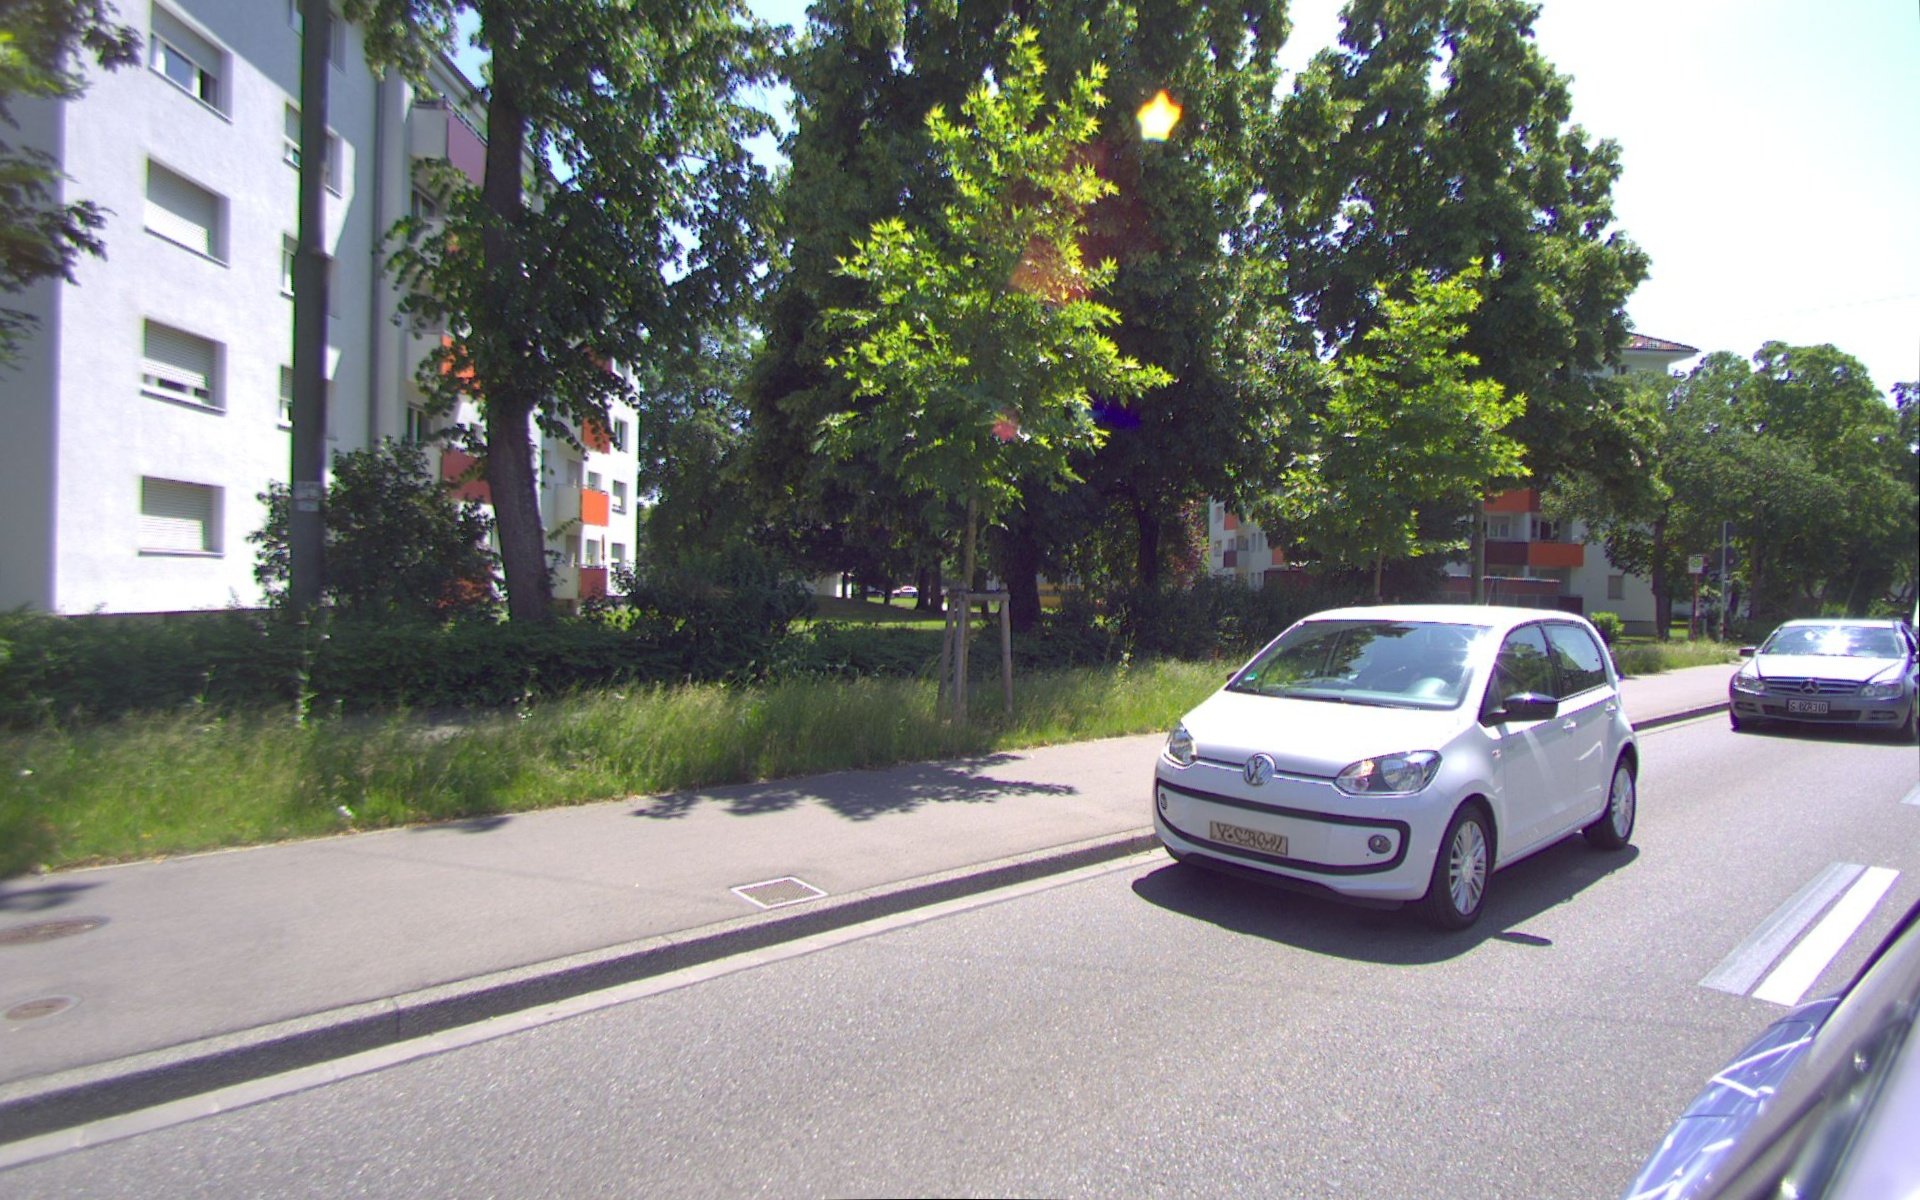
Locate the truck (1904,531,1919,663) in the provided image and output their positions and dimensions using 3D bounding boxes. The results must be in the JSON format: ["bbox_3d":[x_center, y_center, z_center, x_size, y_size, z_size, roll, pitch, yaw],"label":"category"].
[{"bbox_3d":[27.744,-0.052,27.253,8.161,3.319,2.294,0,0,-39],"label":"truck"}]

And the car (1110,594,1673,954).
[{"bbox_3d":[2.751,0.718,6.032,3.788,1.468,1.661,0,0,-42],"label":"car"}]

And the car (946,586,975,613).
[{"bbox_3d":[0.073,-0.058,69.386,1.841,1.746,3.924,1,0,2],"label":"car"}]

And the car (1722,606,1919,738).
[{"bbox_3d":[11.656,0.839,13.277,3.901,1.478,1.901,1,-1,-41],"label":"car"}]
